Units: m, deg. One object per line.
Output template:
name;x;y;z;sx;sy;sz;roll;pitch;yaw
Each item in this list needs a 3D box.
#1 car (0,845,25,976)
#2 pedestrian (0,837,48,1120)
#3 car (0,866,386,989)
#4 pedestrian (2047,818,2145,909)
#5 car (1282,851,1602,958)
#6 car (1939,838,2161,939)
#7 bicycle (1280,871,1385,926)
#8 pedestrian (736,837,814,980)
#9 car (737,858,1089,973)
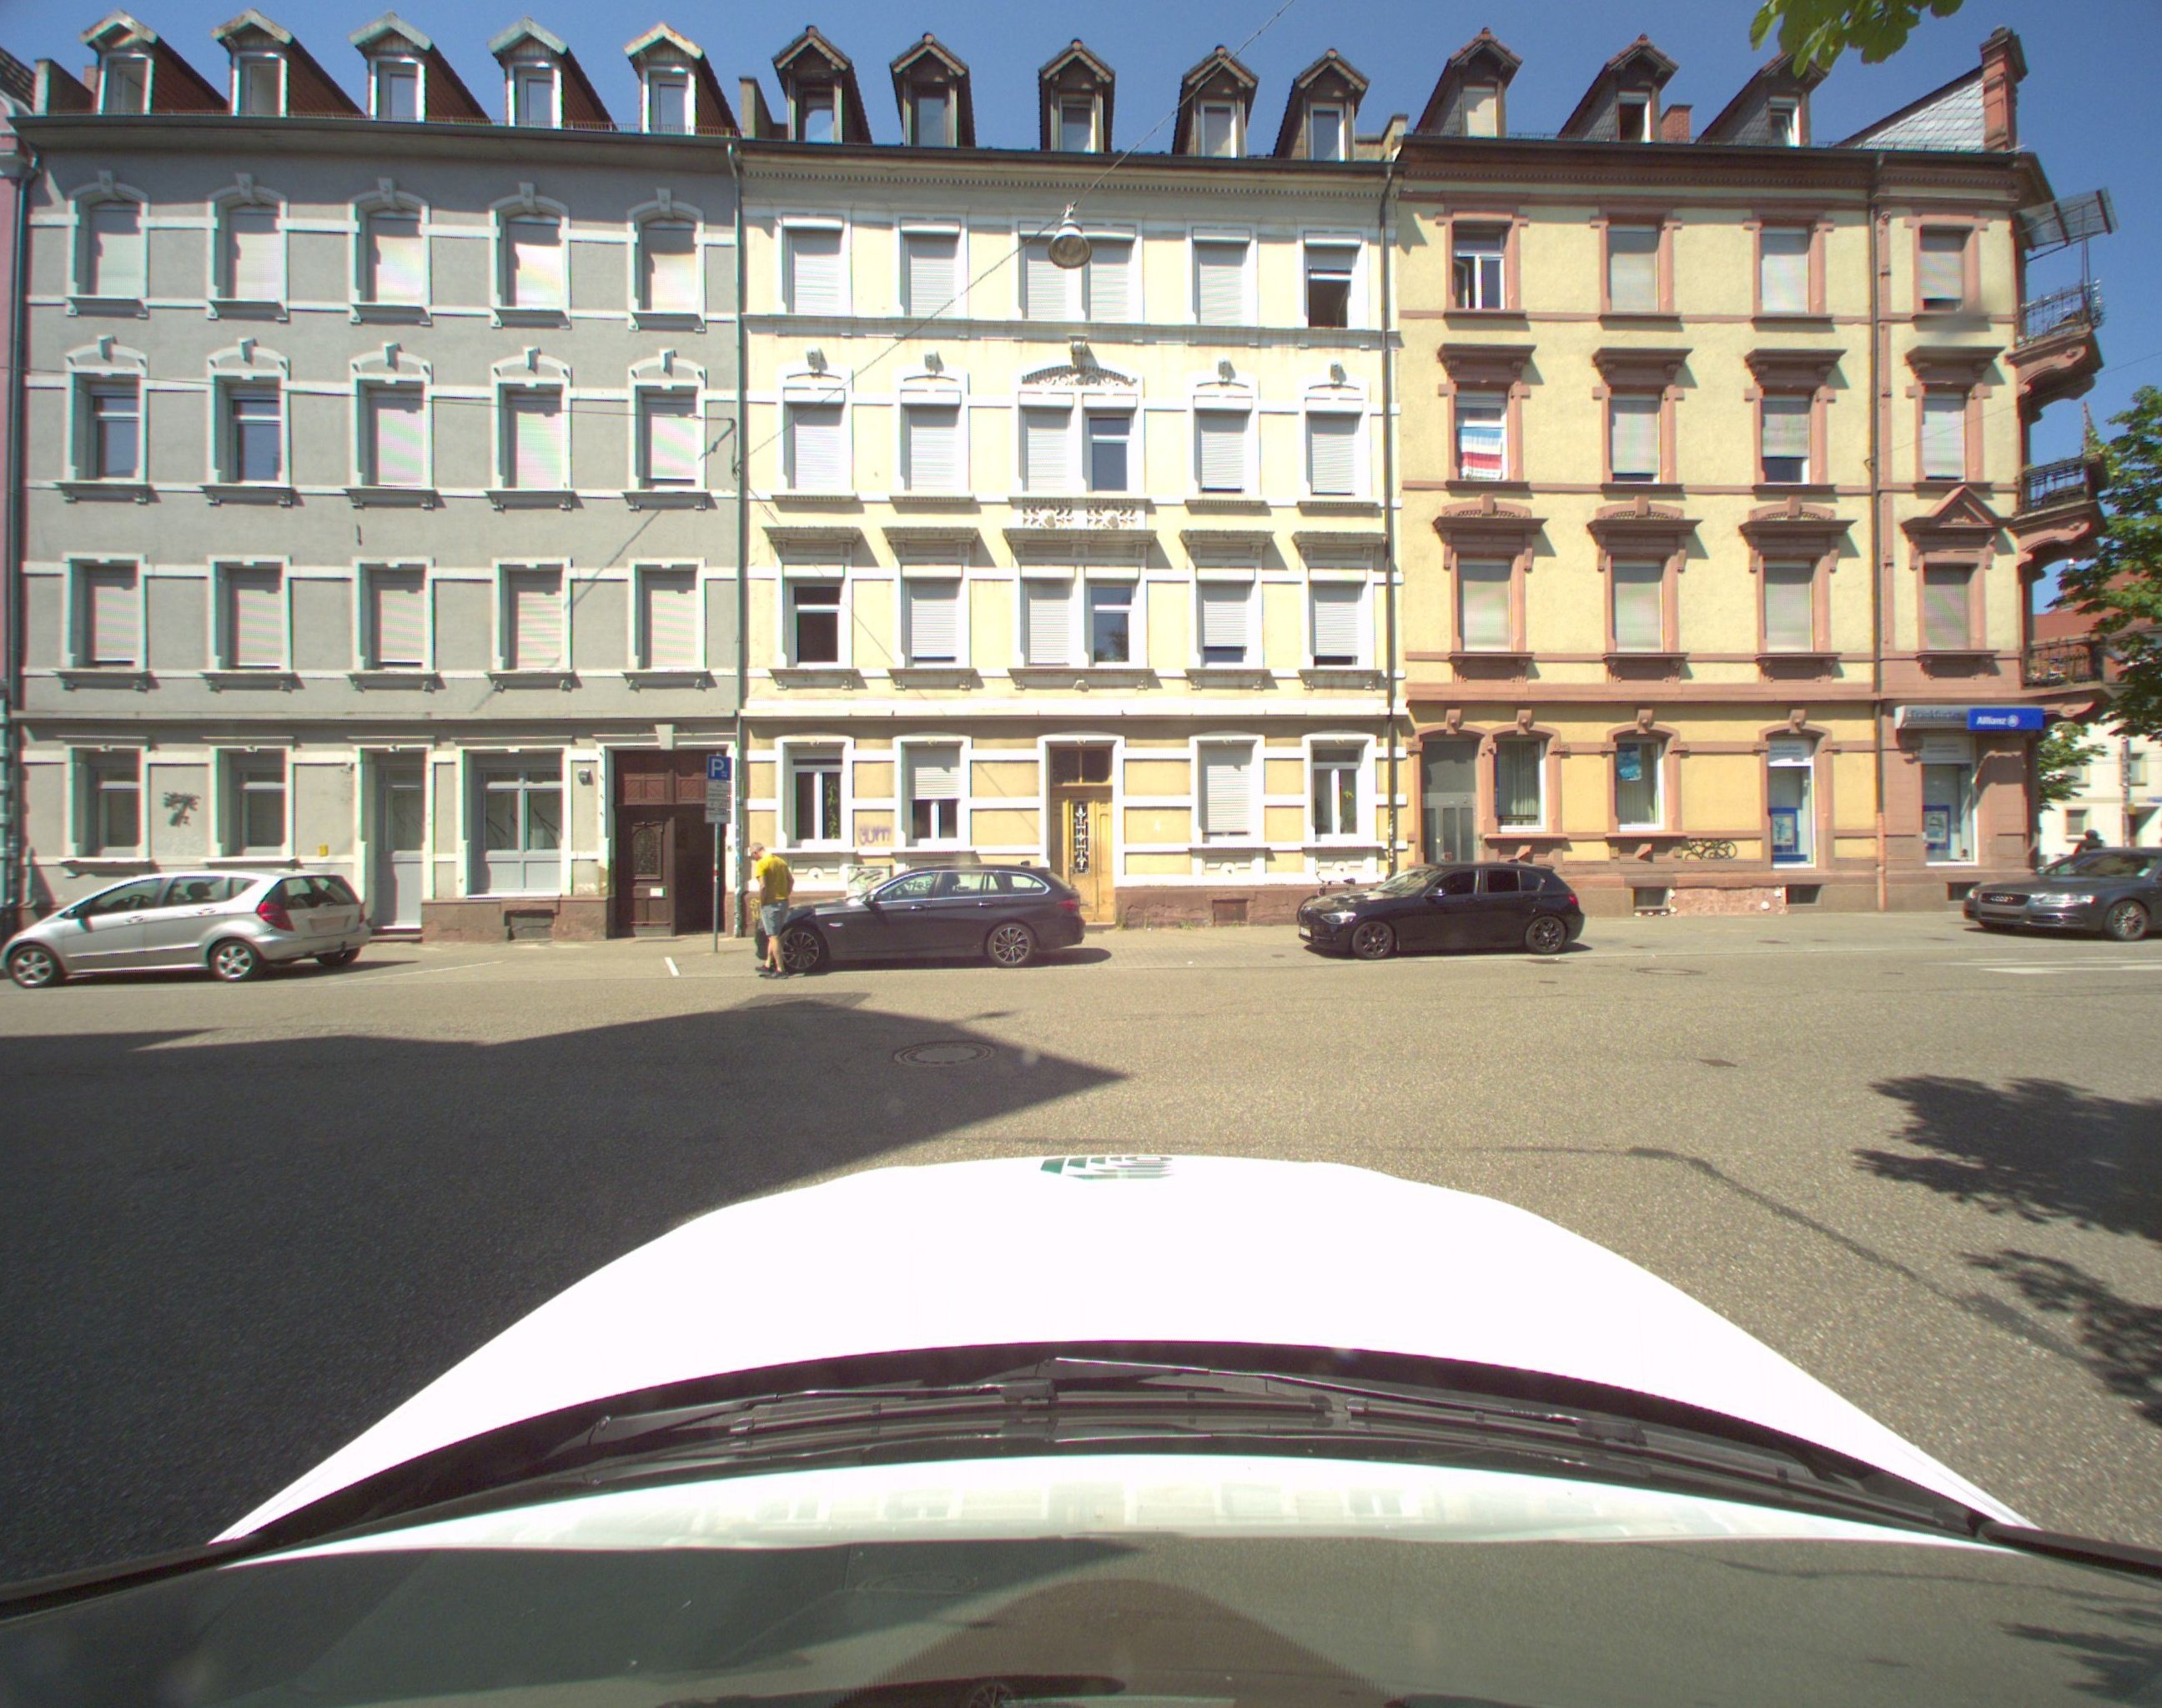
car;-18.860;0.949;11.666;4.695;1.997;1.875;-2;1;-3
pedestrian;-7.467;0.813;5.101;0.894;1.814;0.965;-2;-1;18
car;-13.277;1.028;12.192;4.038;1.562;1.805;-2;-1;-4
pedestrian;23.307;0.219;18.744;1.039;2.014;1.238;-2;-1;34
car;5.556;0.734;12.878;4.283;1.370;1.806;-2;2;-3
car;17.320;0.505;13.508;4.411;1.455;1.805;-2;0;-3
bicycle;5.055;0.887;16.414;2.001;1.021;0.423;-2;2;-5
pedestrian;-4.138;0.719;11.044;0.721;1.853;0.686;-2;-1;6
car;-2.351;0.863;12.392;4.847;1.437;1.998;-2;-1;-3
